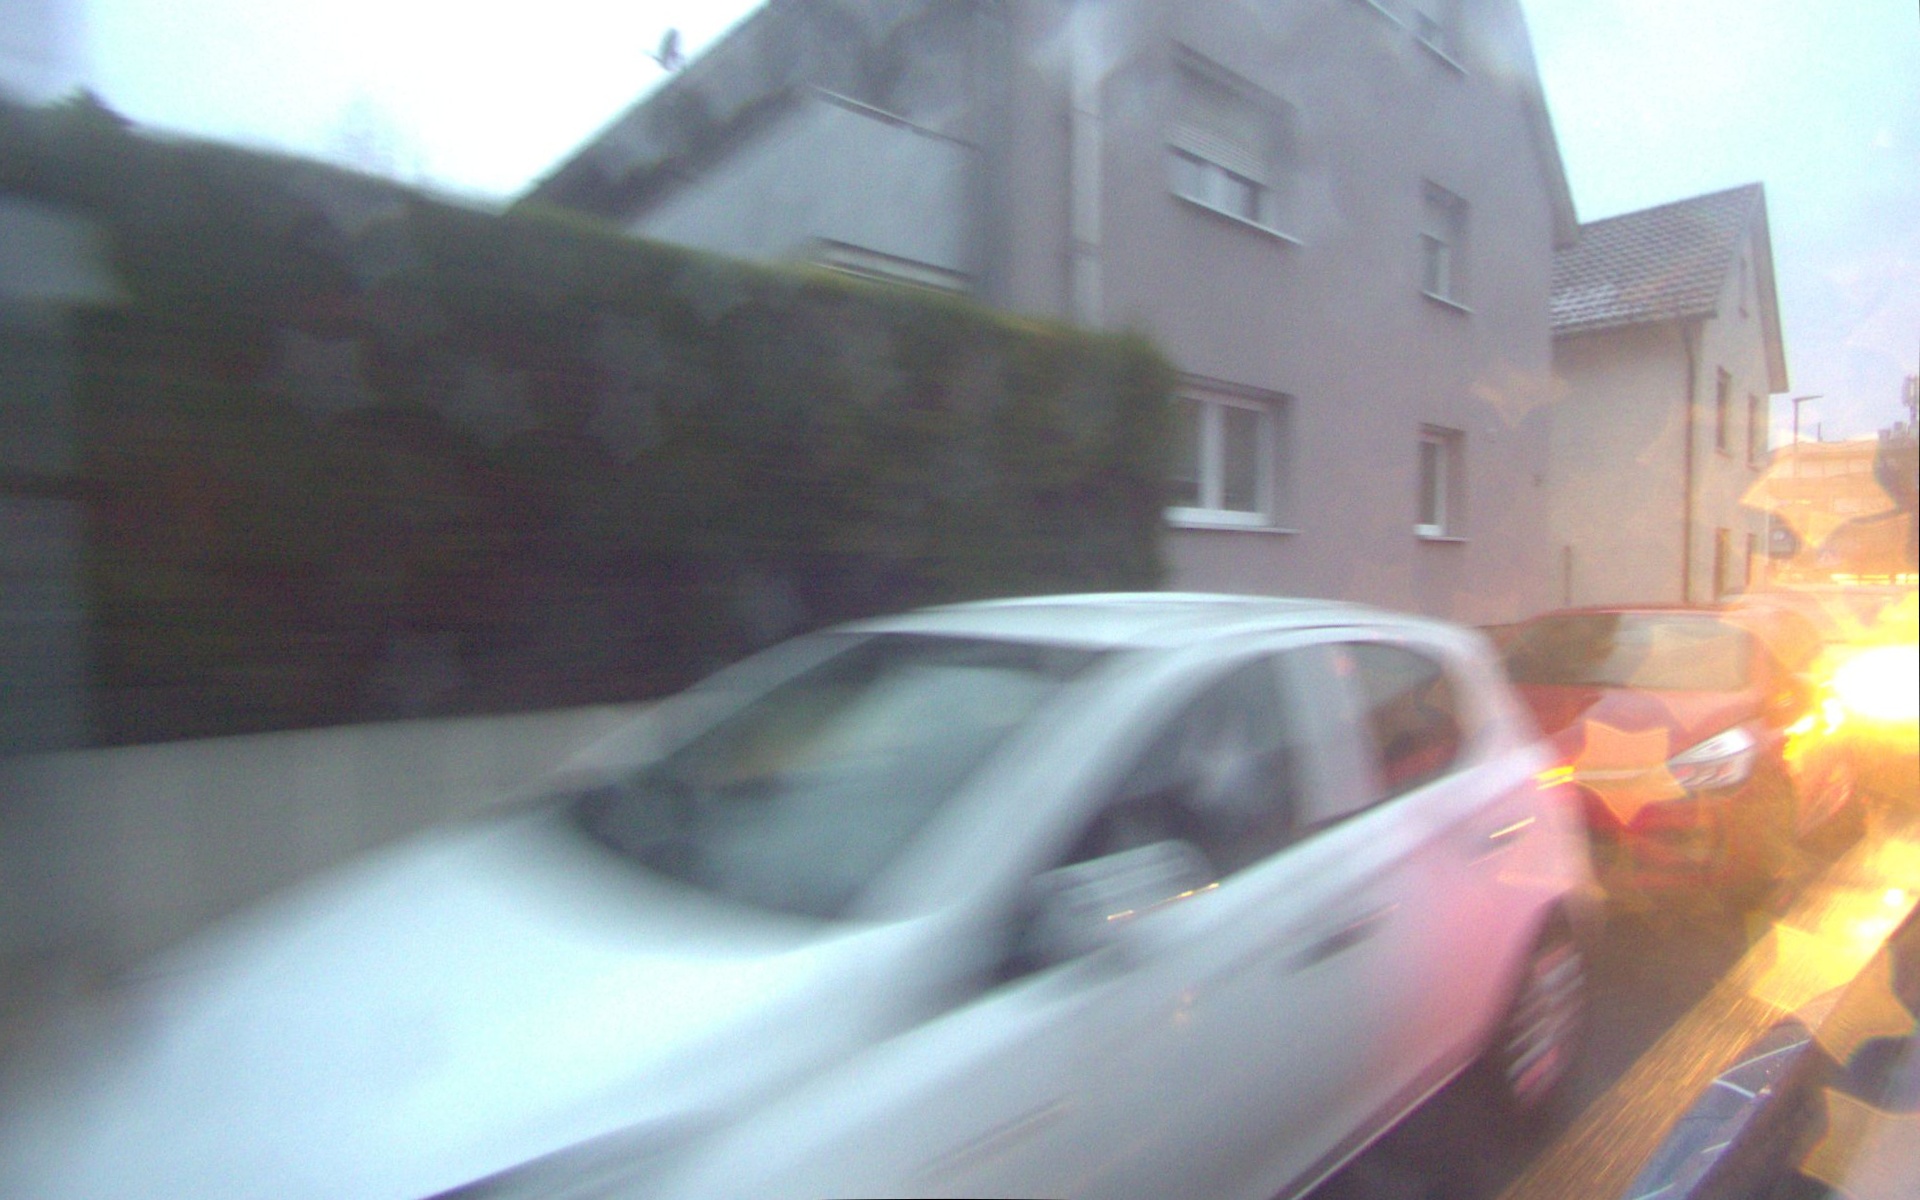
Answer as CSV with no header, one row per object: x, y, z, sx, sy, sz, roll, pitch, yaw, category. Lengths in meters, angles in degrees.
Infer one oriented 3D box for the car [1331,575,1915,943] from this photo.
4.106,0.592,5.964,4.228,1.424,1.739,0,1,-40,car

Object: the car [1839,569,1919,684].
15.563,0.371,15.986,4.162,1.669,1.989,-1,1,-41,car

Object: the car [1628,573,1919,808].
7.530,0.552,8.744,4.228,1.558,1.813,-2,2,-40,car

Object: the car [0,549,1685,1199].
0.322,0.686,2.728,4.294,1.496,1.647,0,1,-40,car
